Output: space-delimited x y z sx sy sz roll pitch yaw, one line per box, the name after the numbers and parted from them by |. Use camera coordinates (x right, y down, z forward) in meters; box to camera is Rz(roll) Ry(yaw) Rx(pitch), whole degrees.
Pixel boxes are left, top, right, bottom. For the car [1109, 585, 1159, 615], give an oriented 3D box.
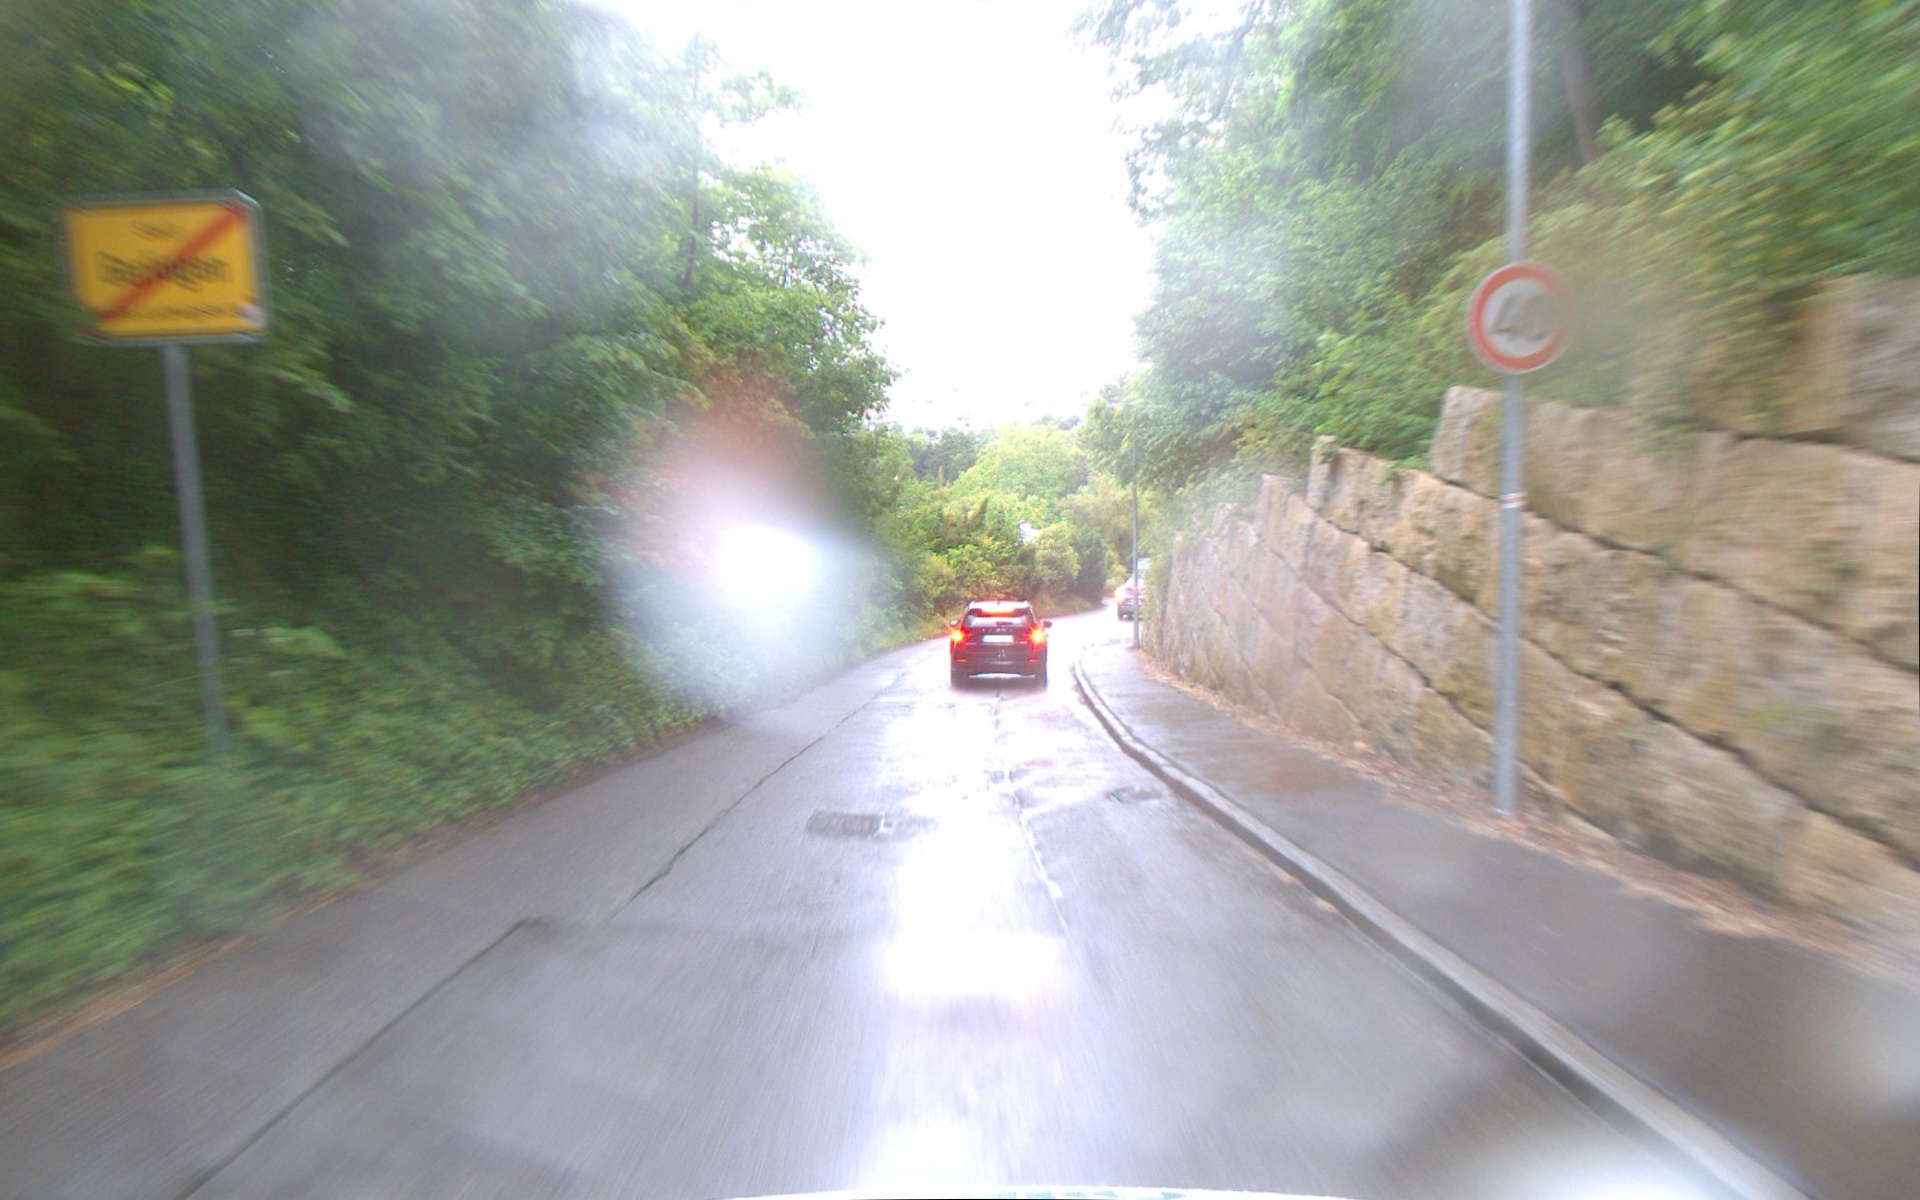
9.648 0.006 91.513 1.900 1.549 4.582 1 0 16 | car

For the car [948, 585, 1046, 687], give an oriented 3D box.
0.685 0.607 30.379 1.664 1.475 4.003 -1 4 1 | car

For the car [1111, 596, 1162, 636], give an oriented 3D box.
8.191 0.719 76.449 1.823 1.773 4.003 1 0 13 | car
